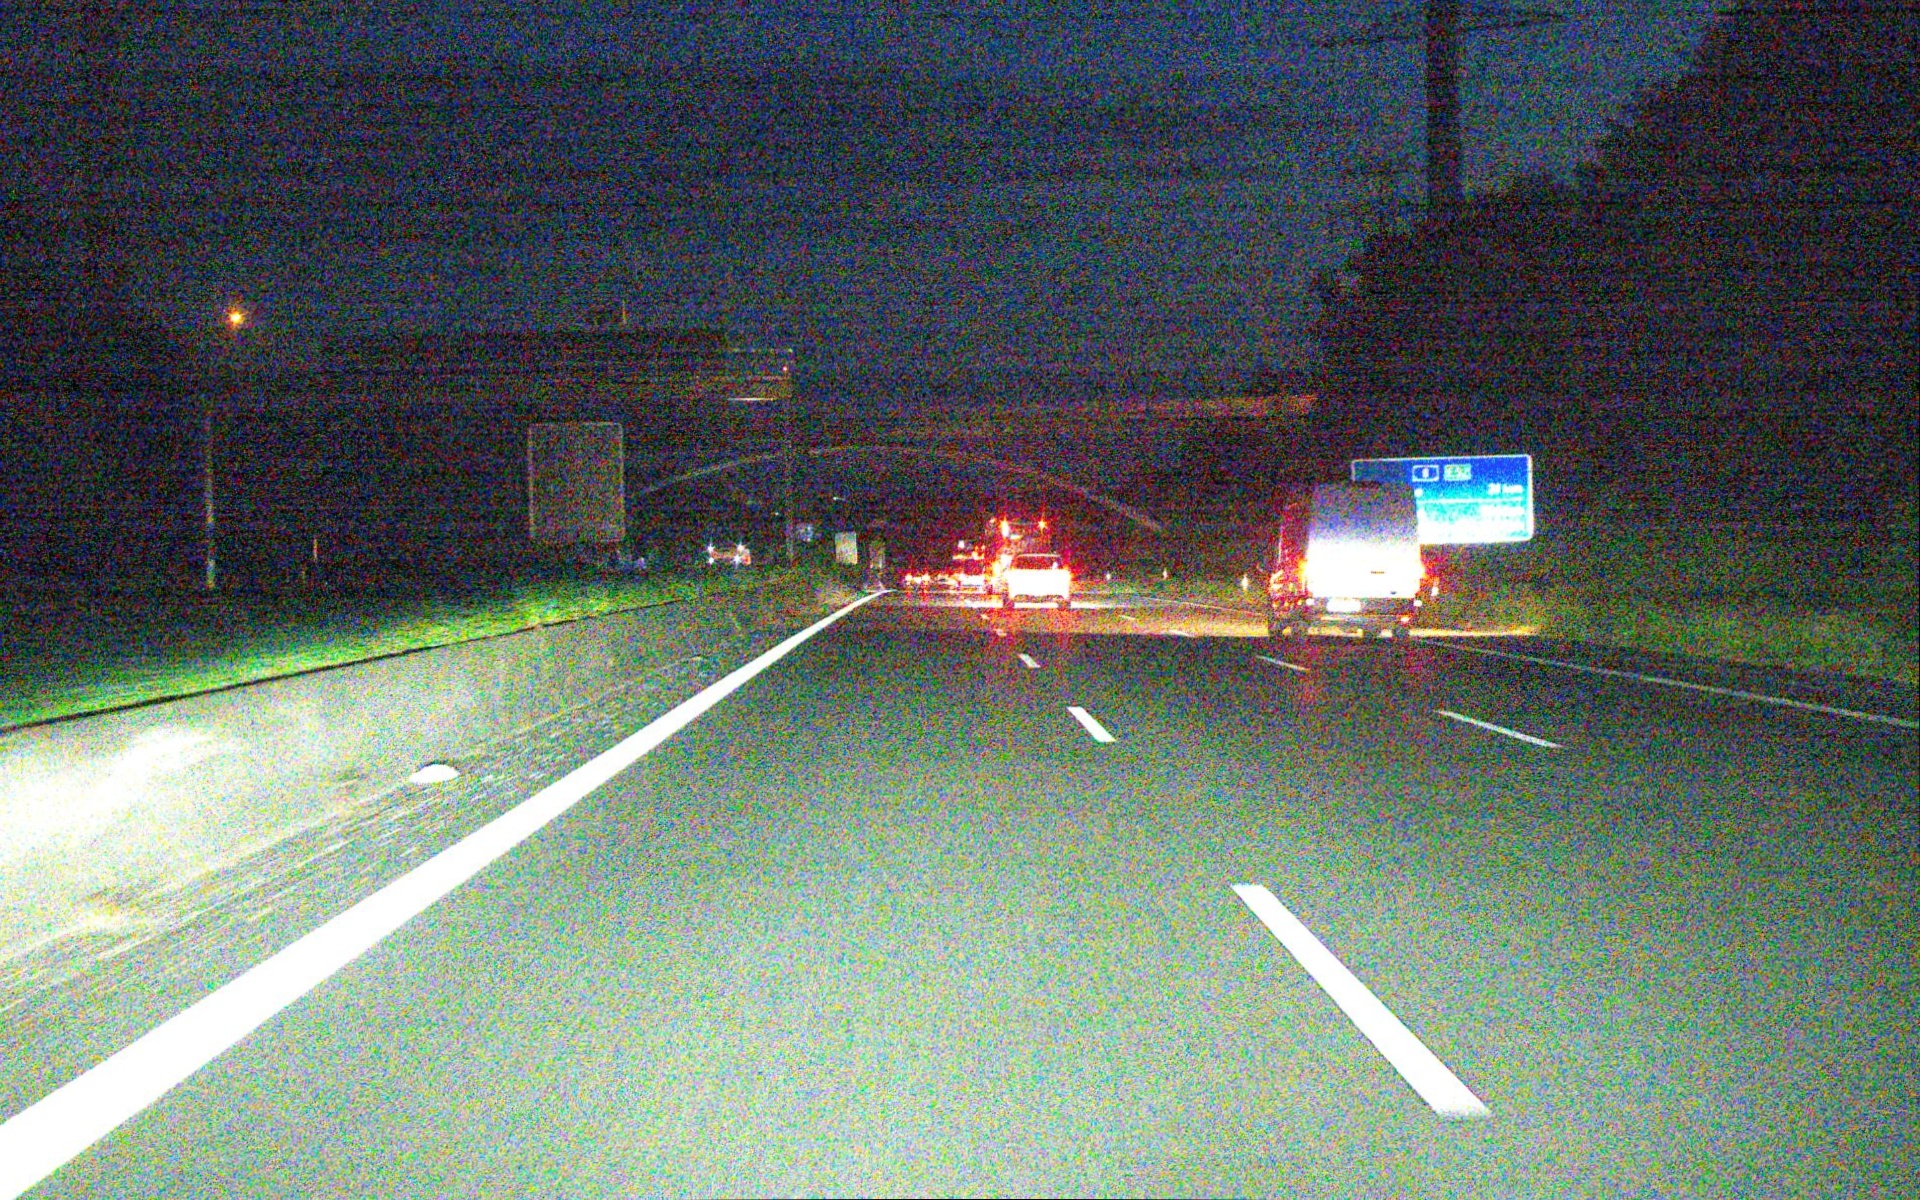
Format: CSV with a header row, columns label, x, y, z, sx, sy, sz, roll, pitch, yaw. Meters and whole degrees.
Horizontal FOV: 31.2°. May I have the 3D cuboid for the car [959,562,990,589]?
label,x,y,z,sx,sy,sz,roll,pitch,yaw
car,0.897,-1.473,206.669,1.821,1.461,4.248,1,2,0

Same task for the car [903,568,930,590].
label,x,y,z,sx,sy,sz,roll,pitch,yaw
car,-3.142,-1.520,246.652,1.821,1.461,4.248,1,2,0

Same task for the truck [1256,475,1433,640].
label,x,y,z,sx,sy,sz,roll,pitch,yaw
truck,6.670,-0.664,60.497,2.076,2.682,7.308,1,-1,-2

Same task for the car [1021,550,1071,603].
label,x,y,z,sx,sy,sz,roll,pitch,yaw
car,2.425,-0.679,97.648,1.346,1.382,3.502,1,2,0

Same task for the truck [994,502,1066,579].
label,x,y,z,sx,sy,sz,roll,pitch,yaw
truck,3.135,-2.761,155.936,3.044,3.313,10.142,1,2,0
